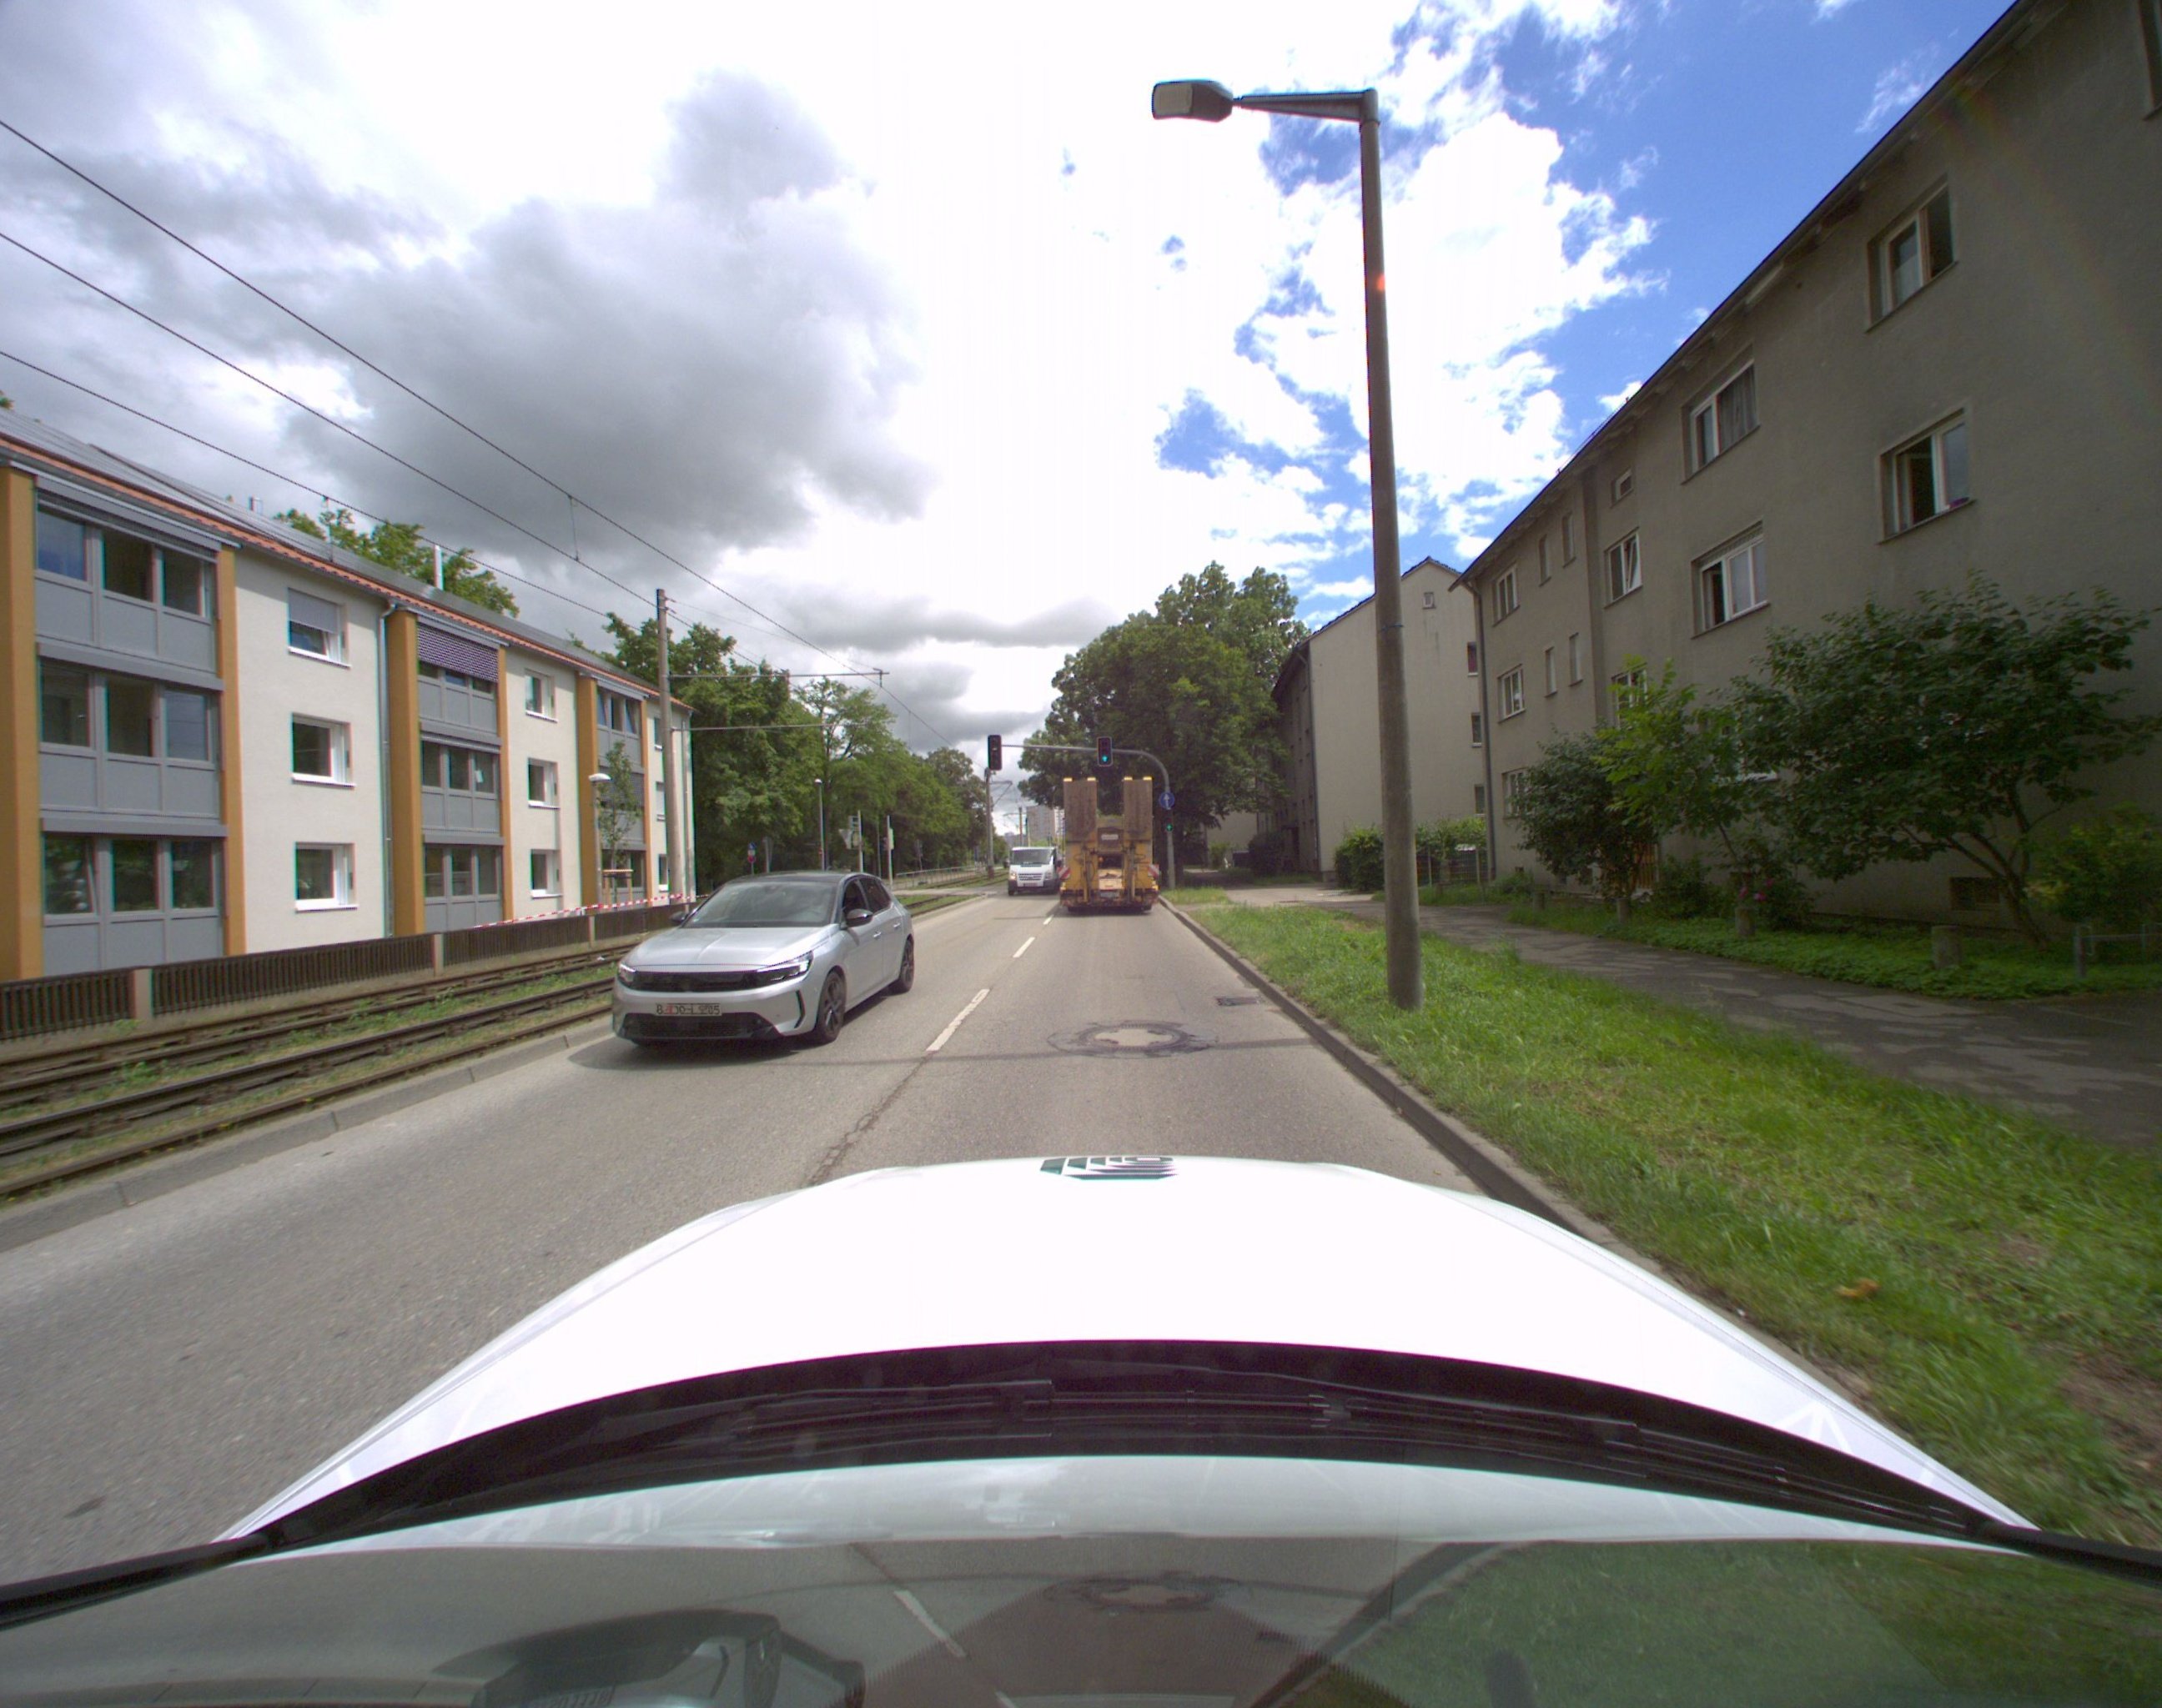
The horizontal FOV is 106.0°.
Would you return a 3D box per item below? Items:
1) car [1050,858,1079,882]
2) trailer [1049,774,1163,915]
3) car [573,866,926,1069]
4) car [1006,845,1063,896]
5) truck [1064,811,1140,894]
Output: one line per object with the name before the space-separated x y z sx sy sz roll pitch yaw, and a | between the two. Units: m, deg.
car | -1.058 1.021 54.399 1.673 1.450 4.075 -3 0 2
trailer | 0.719 -0.227 26.107 2.813 3.524 11.052 -1 0 1
car | -2.853 0.875 8.060 1.723 1.417 3.985 -1 0 2
car | -1.877 0.655 34.203 1.935 1.940 4.319 -1 0 2
truck | 0.911 -0.057 35.461 2.907 3.167 7.682 -1 0 1
